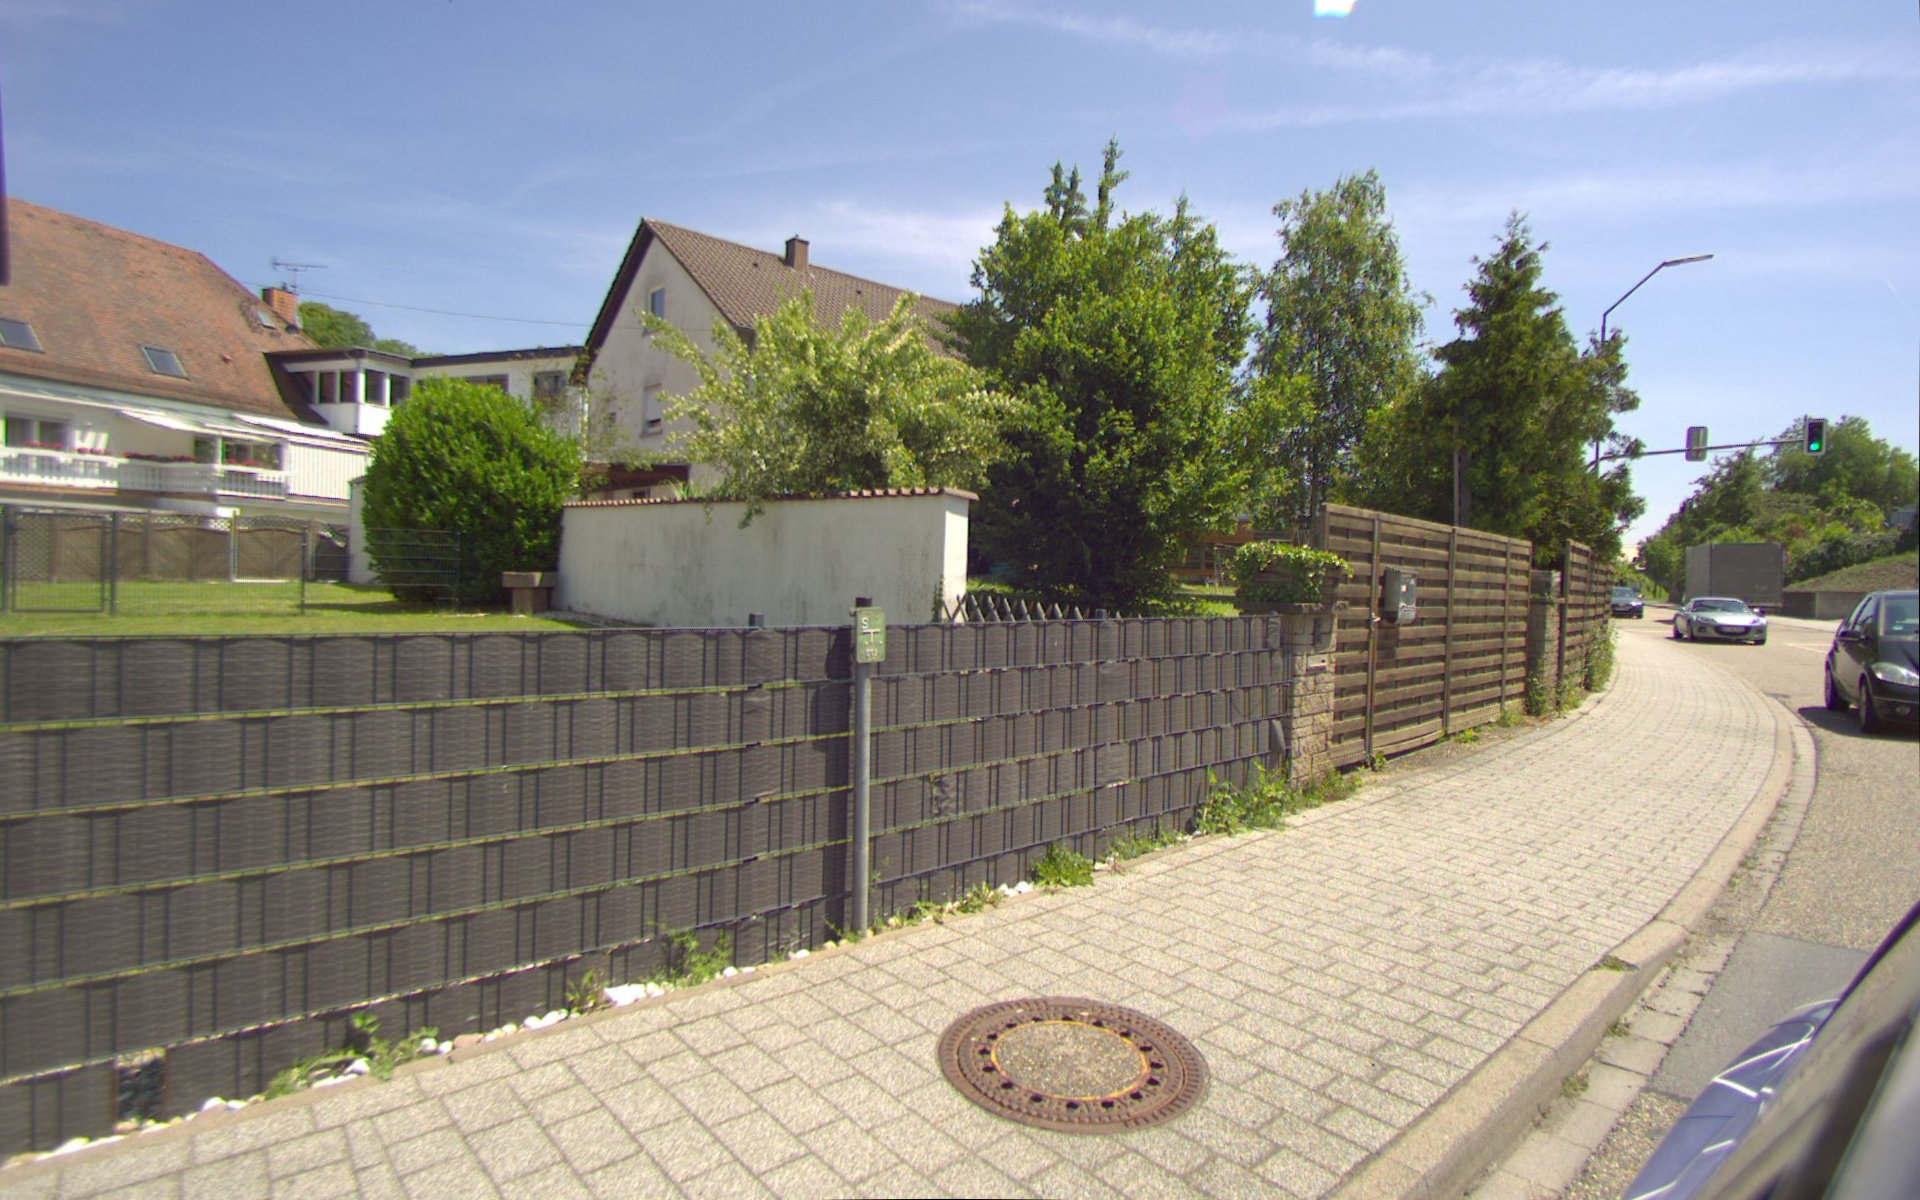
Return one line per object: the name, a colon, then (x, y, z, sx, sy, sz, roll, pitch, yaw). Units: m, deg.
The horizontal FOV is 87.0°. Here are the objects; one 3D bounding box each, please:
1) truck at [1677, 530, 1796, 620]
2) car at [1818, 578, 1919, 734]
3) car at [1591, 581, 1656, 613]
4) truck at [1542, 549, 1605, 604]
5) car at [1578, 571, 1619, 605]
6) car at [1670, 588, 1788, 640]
truck: (32.328, -0.986, 42.418, 2.450, 3.410, 7.547, -1, 0, 26)
car: (11.535, 0.555, 11.883, 1.753, 1.612, 4.147, 1, 1, 34)
car: (30.642, -0.177, 46.830, 1.878, 1.393, 3.966, 1, 1, 25)
truck: (45.145, -1.759, 74.699, 3.178, 3.642, 8.226, 5, 3, 28)
car: (37.683, -0.726, 59.790, 1.853, 1.932, 4.983, 0, 1, 30)
car: (21.703, 0.353, 28.732, 1.796, 1.330, 3.966, 1, 1, 25)
